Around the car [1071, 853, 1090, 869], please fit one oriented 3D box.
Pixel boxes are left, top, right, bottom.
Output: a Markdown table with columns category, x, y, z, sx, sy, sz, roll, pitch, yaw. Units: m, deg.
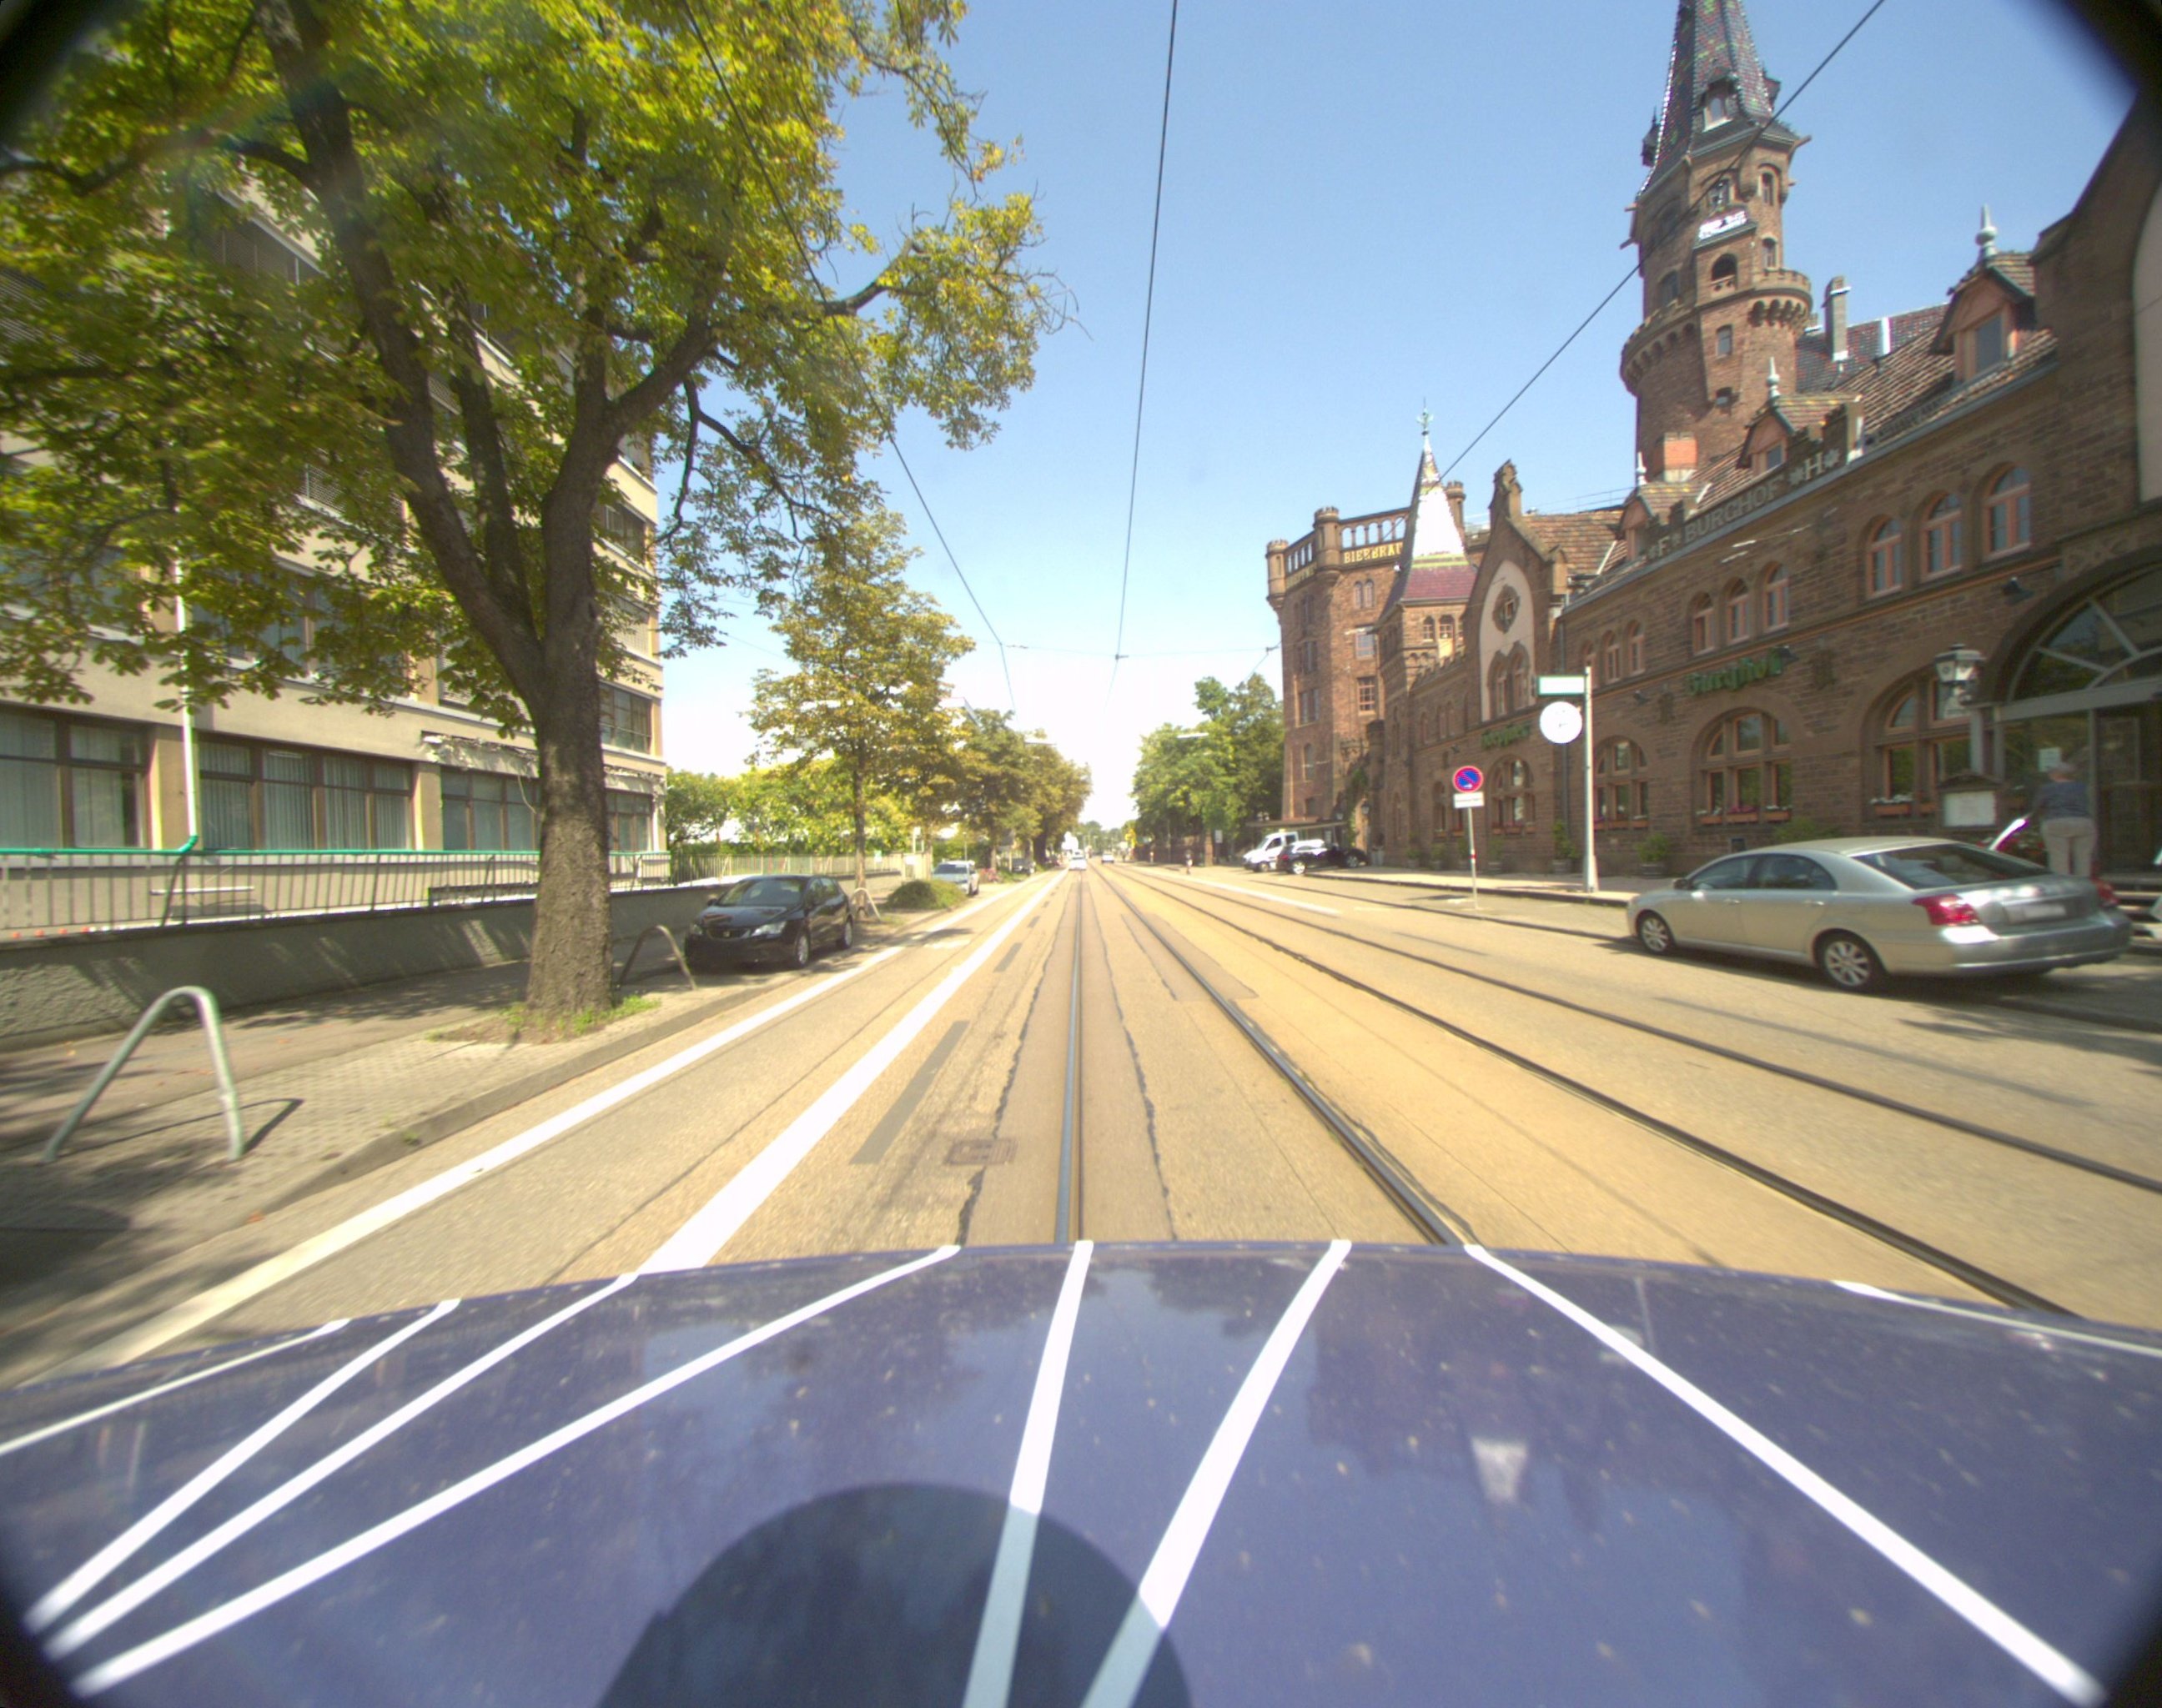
| category | x | y | z | sx | sy | sz | roll | pitch | yaw |
| --- | --- | --- | --- | --- | --- | --- | --- | --- | --- |
| car | -0.018 | 0.678 | 76.529 | 1.824 | 1.483 | 4.019 | -2 | 0 | 1 |

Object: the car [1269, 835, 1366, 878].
| category | x | y | z | sx | sy | sz | roll | pitch | yaw |
| --- | --- | --- | --- | --- | --- | --- | --- | --- | --- |
| car | 12.598 | 0.117 | 40.690 | 4.407 | 1.787 | 2.000 | -6 | 0 | 3 |

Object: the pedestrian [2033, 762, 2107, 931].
| category | x | y | z | sx | sy | sz | roll | pitch | yaw |
| --- | --- | --- | --- | --- | --- | --- | --- | --- | --- |
| pedestrian | 11.969 | -0.090 | 9.199 | 0.520 | 1.969 | 0.504 | -3 | 2 | -34 |

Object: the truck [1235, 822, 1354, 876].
| category | x | y | z | sx | sy | sz | roll | pitch | yaw |
| --- | --- | --- | --- | --- | --- | --- | --- | --- | --- |
| truck | 13.046 | -0.307 | 46.763 | 6.510 | 2.510 | 2.317 | -6 | 0 | 1 |

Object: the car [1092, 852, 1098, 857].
| category | x | y | z | sx | sy | sz | roll | pitch | yaw |
| --- | --- | --- | --- | --- | --- | --- | --- | --- | --- |
| car | 4.335 | 0.106 | 238.286 | 1.799 | 1.501 | 4.000 | -2 | 0 | 1 |

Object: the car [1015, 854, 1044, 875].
| category | x | y | z | sx | sy | sz | roll | pitch | yaw |
| --- | --- | --- | --- | --- | --- | --- | --- | --- | --- |
| car | -4.114 | 0.802 | 61.416 | 1.998 | 1.521 | 4.000 | -2 | 0 | 1 |

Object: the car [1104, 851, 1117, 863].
| category | x | y | z | sx | sy | sz | roll | pitch | yaw |
| --- | --- | --- | --- | --- | --- | --- | --- | --- | --- |
| car | 4.797 | 0.464 | 123.736 | 1.998 | 1.783 | 4.000 | -2 | 0 | 1 |

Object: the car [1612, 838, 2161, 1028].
| category | x | y | z | sx | sy | sz | roll | pitch | yaw |
| --- | --- | --- | --- | --- | --- | --- | --- | --- | --- |
| car | 8.584 | 0.654 | 8.692 | 1.939 | 1.493 | 4.514 | -4 | 0 | 3 |

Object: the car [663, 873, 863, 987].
| category | x | y | z | sx | sy | sz | roll | pitch | yaw |
| --- | --- | --- | --- | --- | --- | --- | --- | --- | --- |
| car | -4.985 | 1.106 | 12.539 | 1.642 | 1.464 | 3.993 | 0 | 0 | 0 |

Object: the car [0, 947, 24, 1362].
| category | x | y | z | sx | sy | sz | roll | pitch | yaw |
| --- | --- | --- | --- | --- | --- | --- | --- | --- | --- |
| car | -4.969 | 1.136 | 0.910 | 1.645 | 1.561 | 4.084 | -1 | 0 | 1 |

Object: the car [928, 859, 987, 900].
| category | x | y | z | sx | sy | sz | roll | pitch | yaw |
| --- | --- | --- | --- | --- | --- | --- | --- | --- | --- |
| car | -5.006 | 0.990 | 31.250 | 1.642 | 1.464 | 3.878 | -2 | 0 | 1 |

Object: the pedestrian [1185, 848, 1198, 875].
| category | x | y | z | sx | sy | sz | roll | pitch | yaw |
| --- | --- | --- | --- | --- | --- | --- | --- | --- | --- |
| pedestrian | 7.506 | 0.504 | 51.736 | 0.736 | 1.837 | 0.828 | -2 | 1 | 1 |
